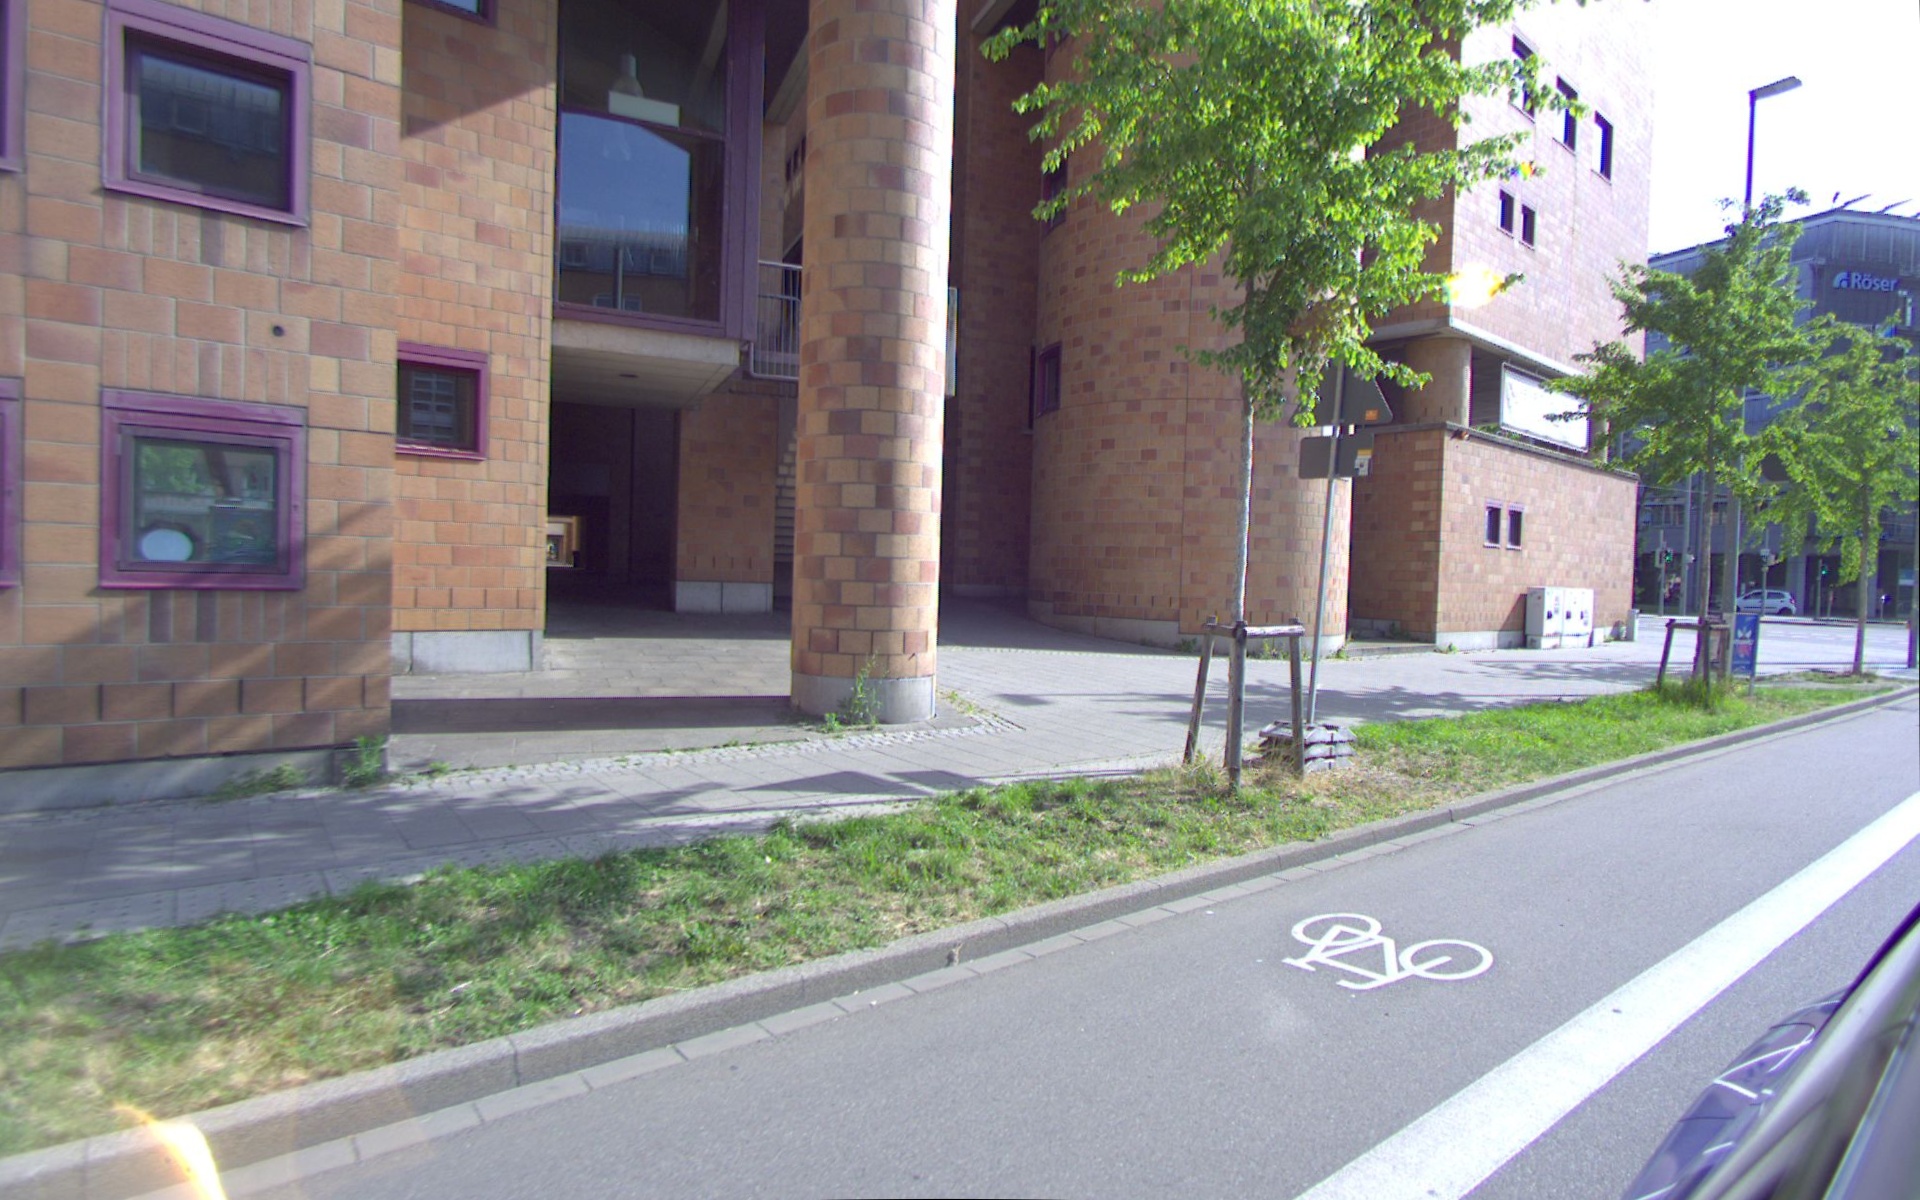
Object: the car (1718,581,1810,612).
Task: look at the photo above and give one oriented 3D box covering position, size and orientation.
[{"bbox_3d":[46.541,-0.225,58.685,3.975,1.548,1.975,4,3,35],"label":"car"}]
